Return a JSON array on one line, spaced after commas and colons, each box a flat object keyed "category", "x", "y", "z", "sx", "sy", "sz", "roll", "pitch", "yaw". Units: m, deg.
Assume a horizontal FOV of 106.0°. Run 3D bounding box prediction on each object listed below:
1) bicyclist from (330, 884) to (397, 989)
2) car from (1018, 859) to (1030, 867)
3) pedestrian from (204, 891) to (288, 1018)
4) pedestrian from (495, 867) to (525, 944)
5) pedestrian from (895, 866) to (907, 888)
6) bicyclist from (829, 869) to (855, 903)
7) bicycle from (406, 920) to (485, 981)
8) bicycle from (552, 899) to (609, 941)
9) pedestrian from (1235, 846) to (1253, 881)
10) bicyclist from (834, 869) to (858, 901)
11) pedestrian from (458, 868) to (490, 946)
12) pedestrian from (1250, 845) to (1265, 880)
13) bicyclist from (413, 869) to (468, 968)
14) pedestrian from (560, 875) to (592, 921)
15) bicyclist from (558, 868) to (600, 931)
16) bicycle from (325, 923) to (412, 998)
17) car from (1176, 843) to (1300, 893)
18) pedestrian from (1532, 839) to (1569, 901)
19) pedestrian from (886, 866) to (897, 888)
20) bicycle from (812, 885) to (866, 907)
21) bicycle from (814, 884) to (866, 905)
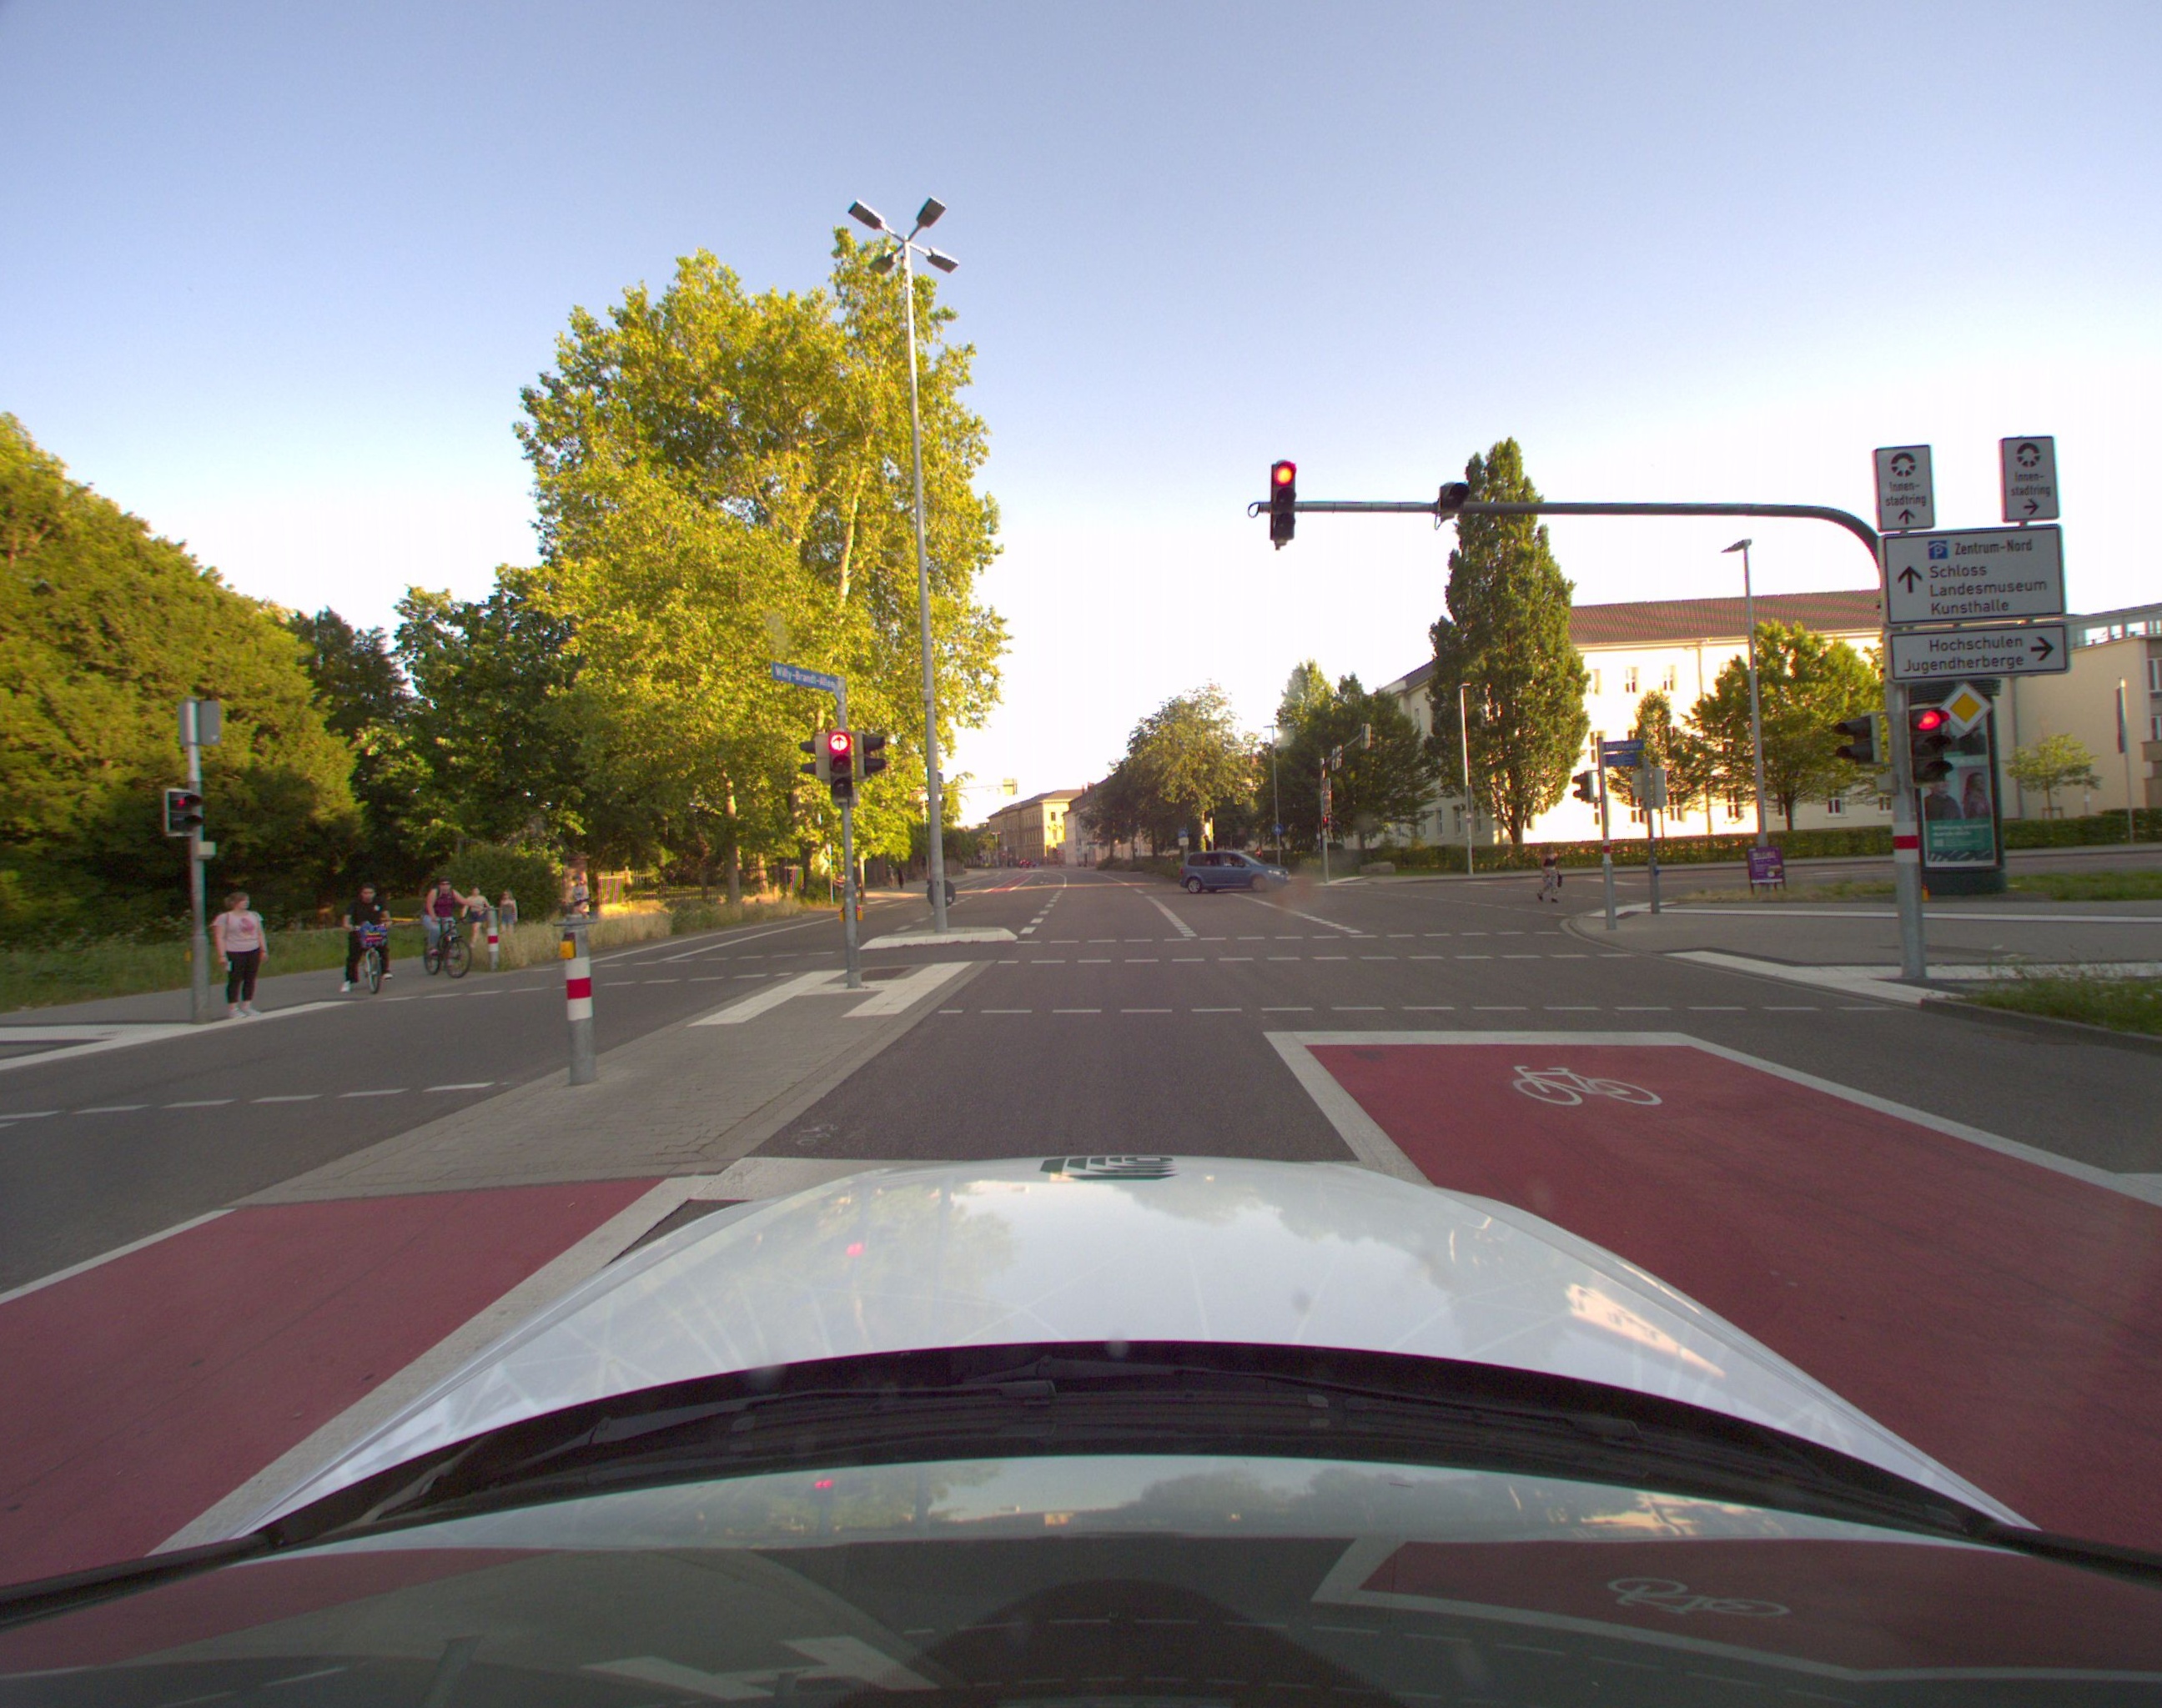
[{"category": "bicyclist", "x": -11.911, "y": 1.349, "z": 13.523, "sx": 0.631, "sy": 1.649, "sz": 0.634, "roll": -3, "pitch": -1, "yaw": 32}, {"category": "car", "x": -11.915, "y": 1.844, "z": 170.246, "sx": 1.821, "sy": 1.588, "sz": 3.983, "roll": -4, "pitch": 0, "yaw": -12}, {"category": "pedestrian", "x": -11.732, "y": 1.400, "z": 11.457, "sx": 0.604, "sy": 1.695, "sz": 0.499, "roll": -3, "pitch": 0, "yaw": 3}, {"category": "pedestrian", "x": -15.542, "y": 1.385, "z": 22.158, "sx": 0.598, "sy": 2.014, "sz": 0.634, "roll": -1, "pitch": -1, "yaw": -38}, {"category": "pedestrian", "x": -13.061, "y": 1.664, "z": 59.079, "sx": 0.597, "sy": 1.573, "sz": 0.646, "roll": -3, "pitch": 0, "yaw": 1}, {"category": "bicyclist", "x": -11.950, "y": 1.593, "z": 40.705, "sx": 0.954, "sy": 1.631, "sz": 0.753, "roll": -3, "pitch": 0, "yaw": 2}, {"category": "bicycle", "x": -11.829, "y": 1.764, "z": 15.147, "sx": 1.749, "sy": 1.030, "sz": 0.583, "roll": -3, "pitch": -1, "yaw": 32}, {"category": "bicycle", "x": -14.470, "y": 1.886, "z": 23.627, "sx": 0.740, "sy": 1.033, "sz": 2.285, "roll": -2, "pitch": 0, "yaw": -15}, {"category": "pedestrian", "x": 9.655, "y": 0.552, "z": 48.201, "sx": 0.867, "sy": 2.014, "sz": 0.723, "roll": -2, "pitch": -1, "yaw": 1}, {"category": "bicyclist", "x": -12.250, "y": 1.612, "z": 42.515, "sx": 0.954, "sy": 1.631, "sz": 0.753, "roll": -3, "pitch": 0, "yaw": 2}, {"category": "pedestrian", "x": -16.295, "y": 1.401, "z": 21.869, "sx": 0.654, "sy": 2.014, "sz": 0.599, "roll": -1, "pitch": -1, "yaw": -37}, {"category": "pedestrian", "x": 10.272, "y": 0.508, "z": 47.486, "sx": 0.633, "sy": 2.014, "sz": 0.720, "roll": -2, "pitch": -1, "yaw": -2}, {"category": "bicyclist", "x": -11.998, "y": 1.186, "z": 15.252, "sx": 0.631, "sy": 1.780, "sz": 0.580, "roll": -3, "pitch": -1, "yaw": 32}, {"category": "pedestrian", "x": -23.170, "y": 2.009, "z": 37.379, "sx": 0.759, "sy": 2.014, "sz": 1.075, "roll": -2, "pitch": -1, "yaw": -5}, {"category": "bicyclist", "x": -14.482, "y": 1.297, "z": 23.520, "sx": 0.757, "sy": 1.728, "sz": 0.939, "roll": -2, "pitch": -1, "yaw": -17}, {"category": "bicycle", "x": -11.786, "y": 1.729, "z": 13.454, "sx": 1.548, "sy": 1.111, "sz": 0.637, "roll": -3, "pitch": -1, "yaw": 32}, {"category": "car", "x": 6.067, "y": 0.549, "z": 31.564, "sx": 4.239, "sy": 1.720, "sz": 1.867, "roll": -3, "pitch": 0, "yaw": 35}, {"category": "pedestrian", "x": 12.712, "y": 0.417, "z": 22.075, "sx": 0.597, "sy": 1.636, "sz": 0.692, "roll": -2, "pitch": 0, "yaw": 5}, {"category": "pedestrian", "x": -13.753, "y": 1.679, "z": 59.043, "sx": 0.533, "sy": 1.596, "sz": 0.591, "roll": -3, "pitch": 0, "yaw": 1}, {"category": "bicycle", "x": -12.098, "y": 2.089, "z": 40.711, "sx": 2.420, "sy": 0.924, "sz": 0.775, "roll": -3, "pitch": 0, "yaw": 2}, {"category": "bicycle", "x": -12.585, "y": 2.119, "z": 42.502, "sx": 2.420, "sy": 0.924, "sz": 0.775, "roll": -3, "pitch": 0, "yaw": 2}]
